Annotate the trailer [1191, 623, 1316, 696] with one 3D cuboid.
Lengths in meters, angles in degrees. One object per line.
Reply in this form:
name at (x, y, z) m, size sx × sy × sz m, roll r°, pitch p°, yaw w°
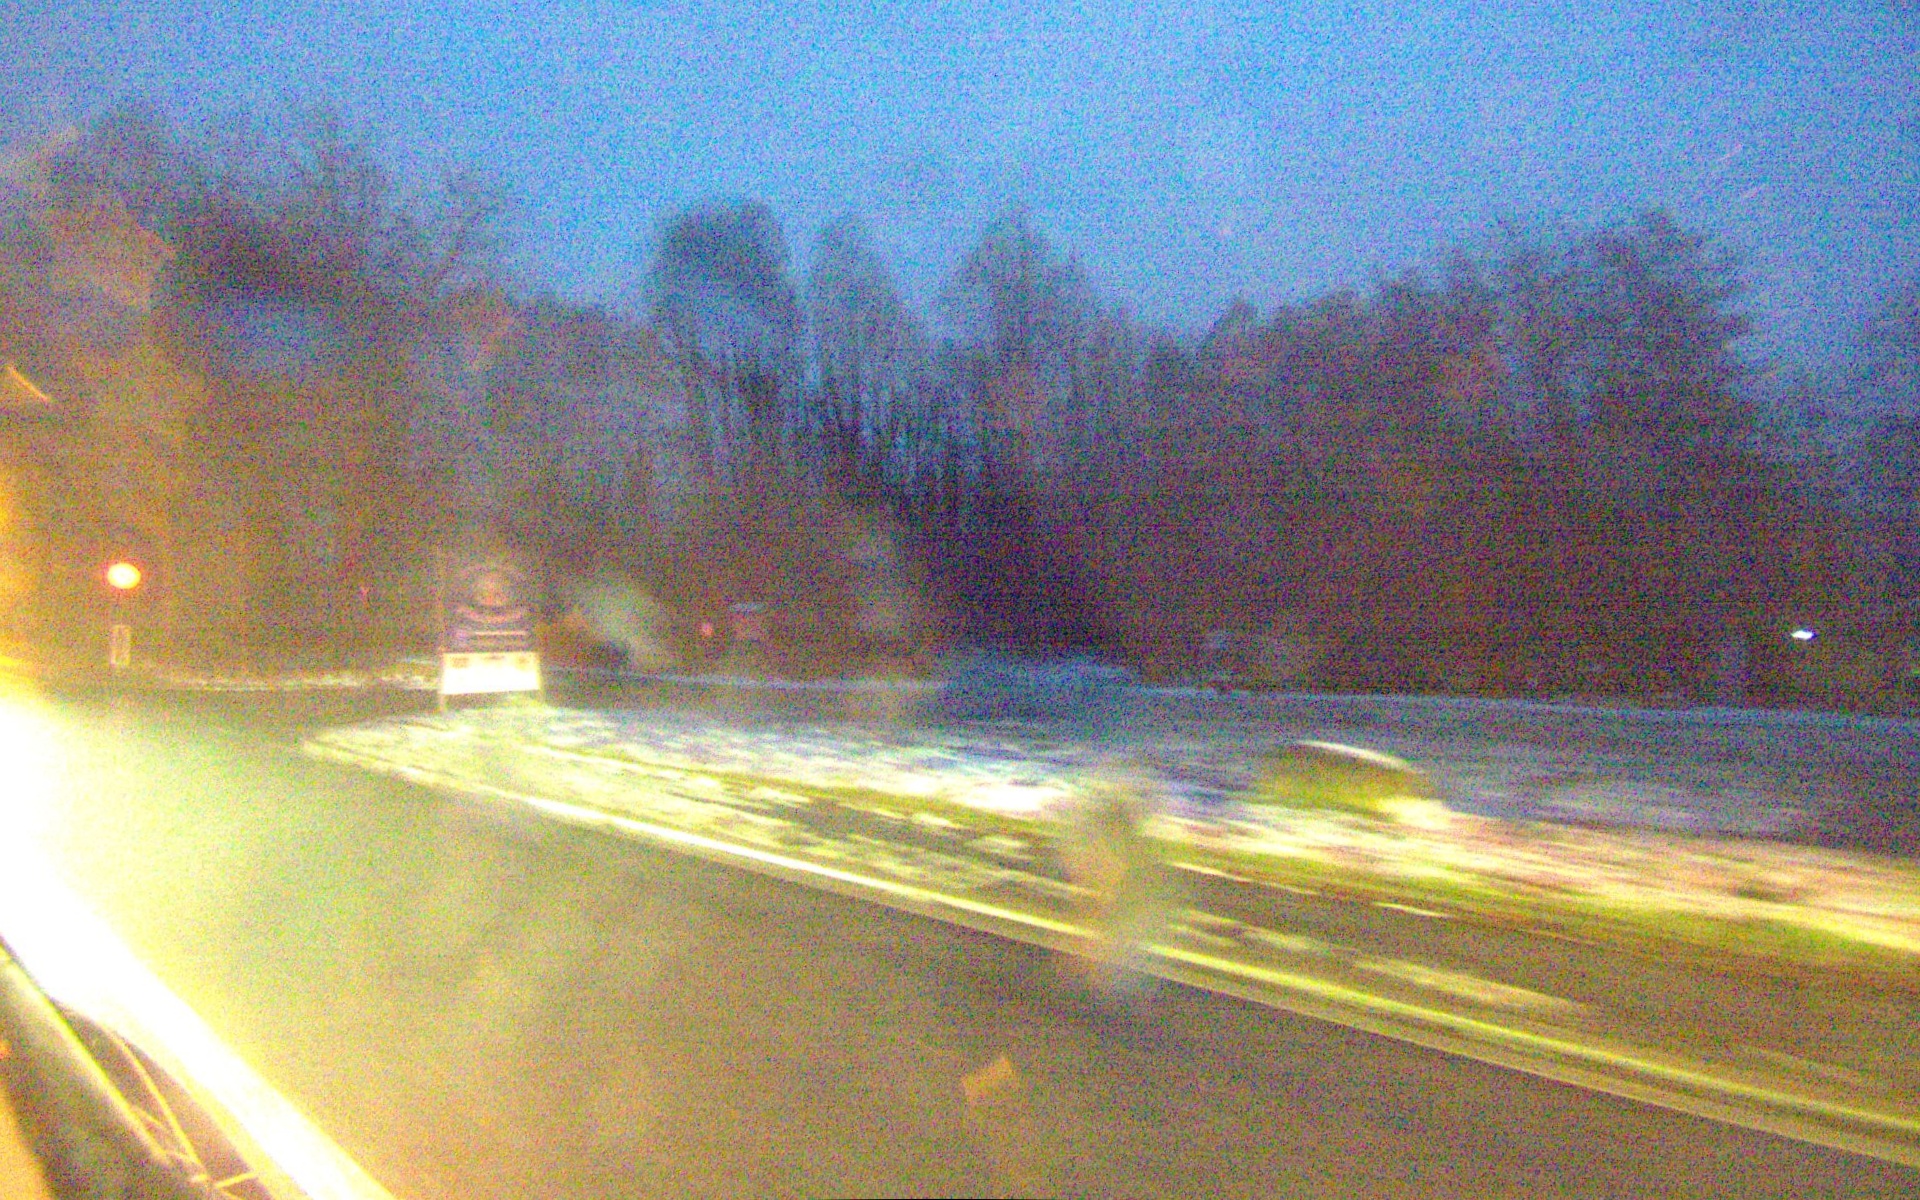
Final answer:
trailer at (9.962, 2.022, 34.364) m, size 3.745 × 2.234 × 1.980 m, roll 4°, pitch -3°, yaw -31°
